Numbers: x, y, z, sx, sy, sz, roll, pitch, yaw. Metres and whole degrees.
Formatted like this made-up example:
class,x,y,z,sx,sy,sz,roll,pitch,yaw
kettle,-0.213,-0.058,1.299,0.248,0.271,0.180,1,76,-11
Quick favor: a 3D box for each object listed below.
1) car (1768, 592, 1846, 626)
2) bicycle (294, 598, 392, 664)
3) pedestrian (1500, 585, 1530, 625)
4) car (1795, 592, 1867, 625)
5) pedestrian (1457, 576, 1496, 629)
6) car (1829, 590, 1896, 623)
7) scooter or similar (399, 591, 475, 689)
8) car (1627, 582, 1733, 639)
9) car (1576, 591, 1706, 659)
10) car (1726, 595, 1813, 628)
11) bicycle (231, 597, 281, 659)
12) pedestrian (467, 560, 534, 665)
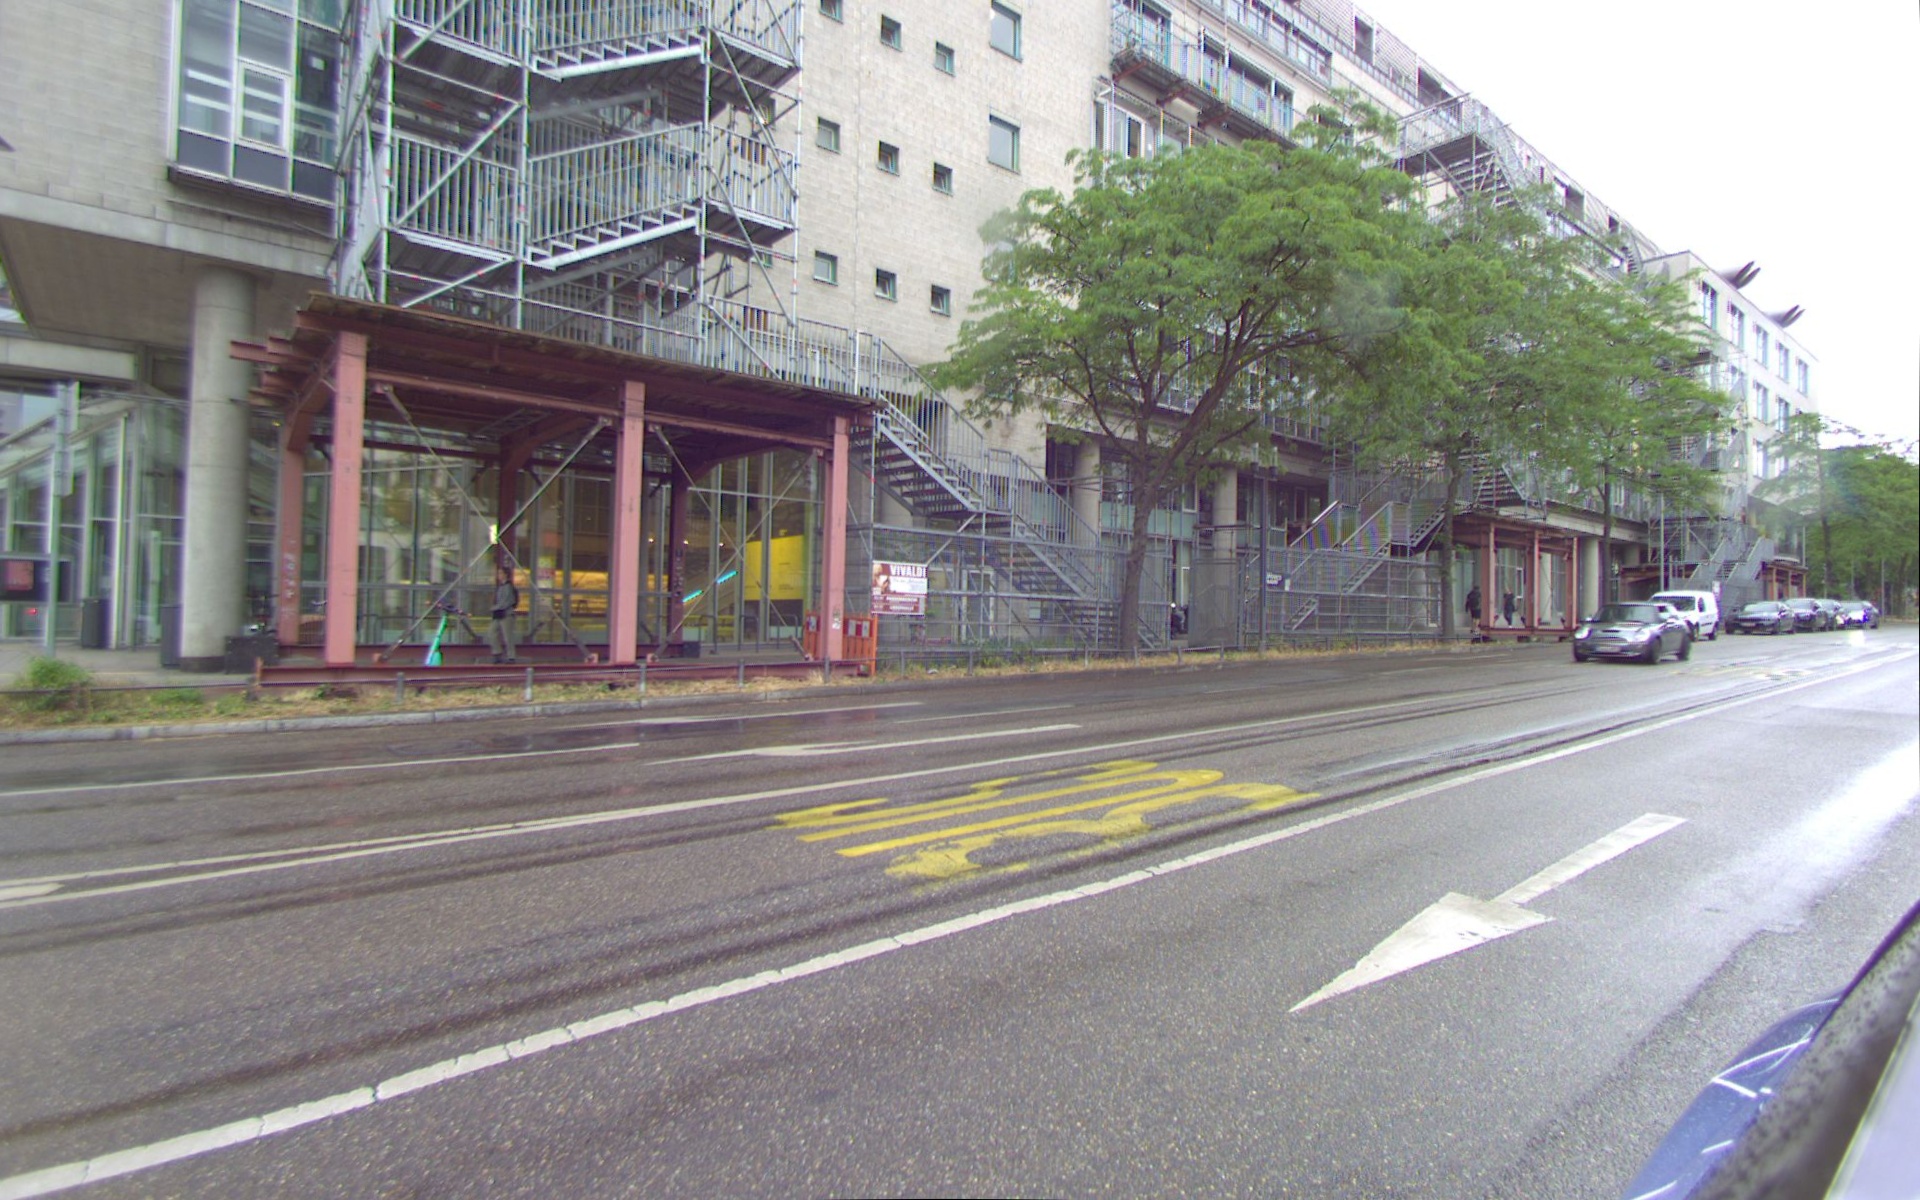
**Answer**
class,x,y,z,sx,sy,sz,roll,pitch,yaw
car,40.240,0.400,48.056,4.733,1.513,2.145,-1,1,-41
bicycle,-11.994,0.578,19.725,0.580,1.209,1.602,0,0,24
pedestrian,25.533,0.233,46.596,0.832,1.822,1.008,0,0,-44
car,44.351,0.372,51.517,4.733,1.580,2.145,-1,1,-41
pedestrian,20.097,0.088,39.381,1.021,2.039,1.009,0,0,-41
car,48.924,0.313,54.843,4.733,1.667,2.145,-1,0,-41
scooter or similar,-6.946,0.491,13.402,0.576,1.209,1.782,1,0,-38
car,26.059,0.315,36.577,4.254,1.930,2.211,-1,0,-41
car,16.181,0.560,24.000,3.657,1.474,1.742,1,0,-42
car,35.084,0.457,43.805,4.733,1.353,2.145,-1,1,-41
bicycle,-14.388,0.547,20.665,0.577,1.209,1.611,0,0,-44
pedestrian,-8.081,0.207,17.814,0.774,1.798,0.783,0,0,31
